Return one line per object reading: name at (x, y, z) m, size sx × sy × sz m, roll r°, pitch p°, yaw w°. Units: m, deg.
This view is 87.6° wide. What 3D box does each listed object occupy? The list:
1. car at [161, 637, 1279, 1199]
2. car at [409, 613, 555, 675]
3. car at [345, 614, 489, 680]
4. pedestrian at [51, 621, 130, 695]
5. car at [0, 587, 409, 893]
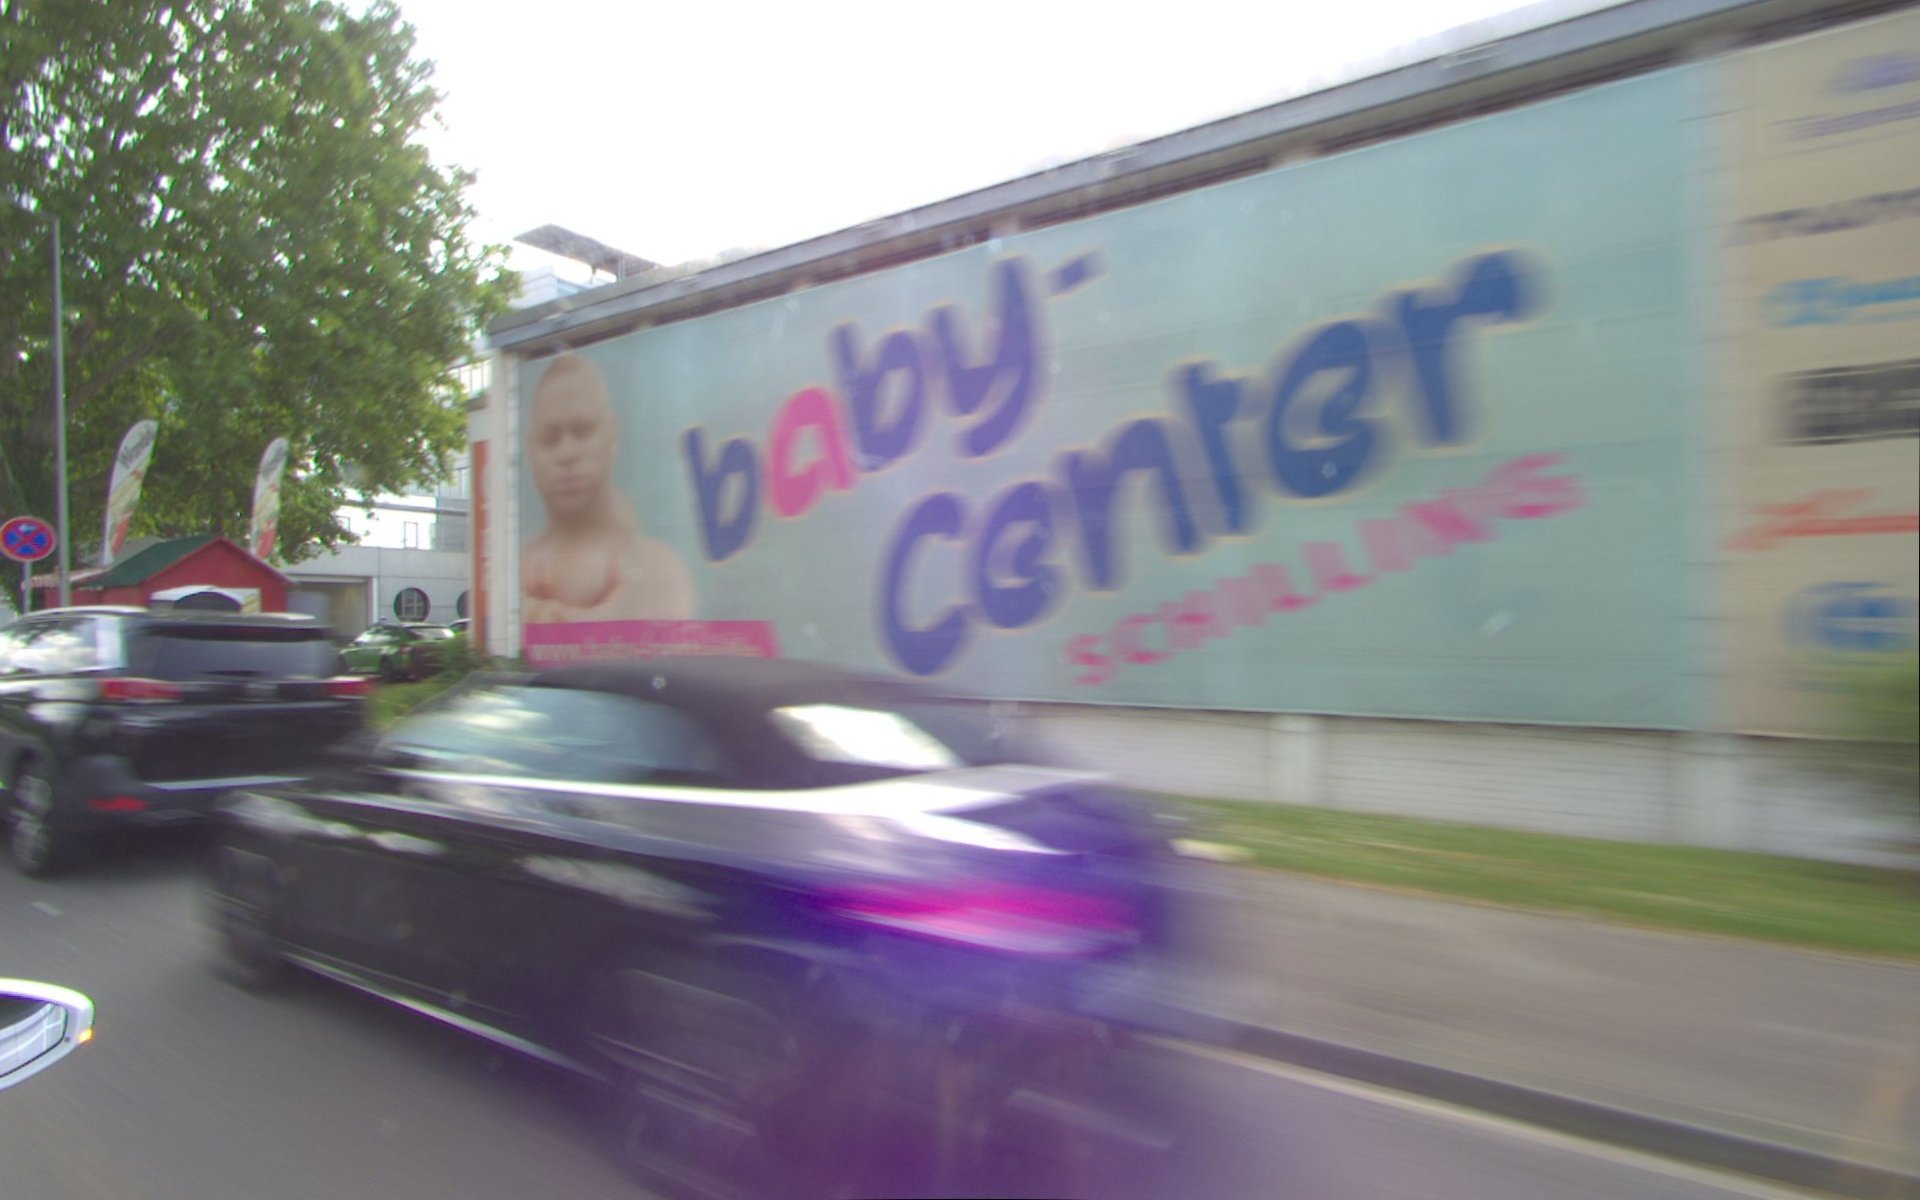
car at (-1.267, 0.901, 4.005) m, size 4.527 × 1.408 × 1.804 m, roll -1°, pitch -4°, yaw 35°
car at (-13.280, 1.184, 27.776) m, size 3.939 × 1.589 × 1.738 m, roll -1°, pitch -1°, yaw 29°
car at (-13.593, 1.128, 24.982) m, size 3.950 × 1.531 × 1.733 m, roll -1°, pitch -1°, yaw 38°
pedestrian at (-16.245, 1.067, 18.719) m, size 0.954 × 1.331 × 1.009 m, roll -1°, pitch -1°, yaw 42°
car at (-6.319, 0.845, 7.540) m, size 4.574 × 1.686 × 1.806 m, roll -1°, pitch -3°, yaw 33°
